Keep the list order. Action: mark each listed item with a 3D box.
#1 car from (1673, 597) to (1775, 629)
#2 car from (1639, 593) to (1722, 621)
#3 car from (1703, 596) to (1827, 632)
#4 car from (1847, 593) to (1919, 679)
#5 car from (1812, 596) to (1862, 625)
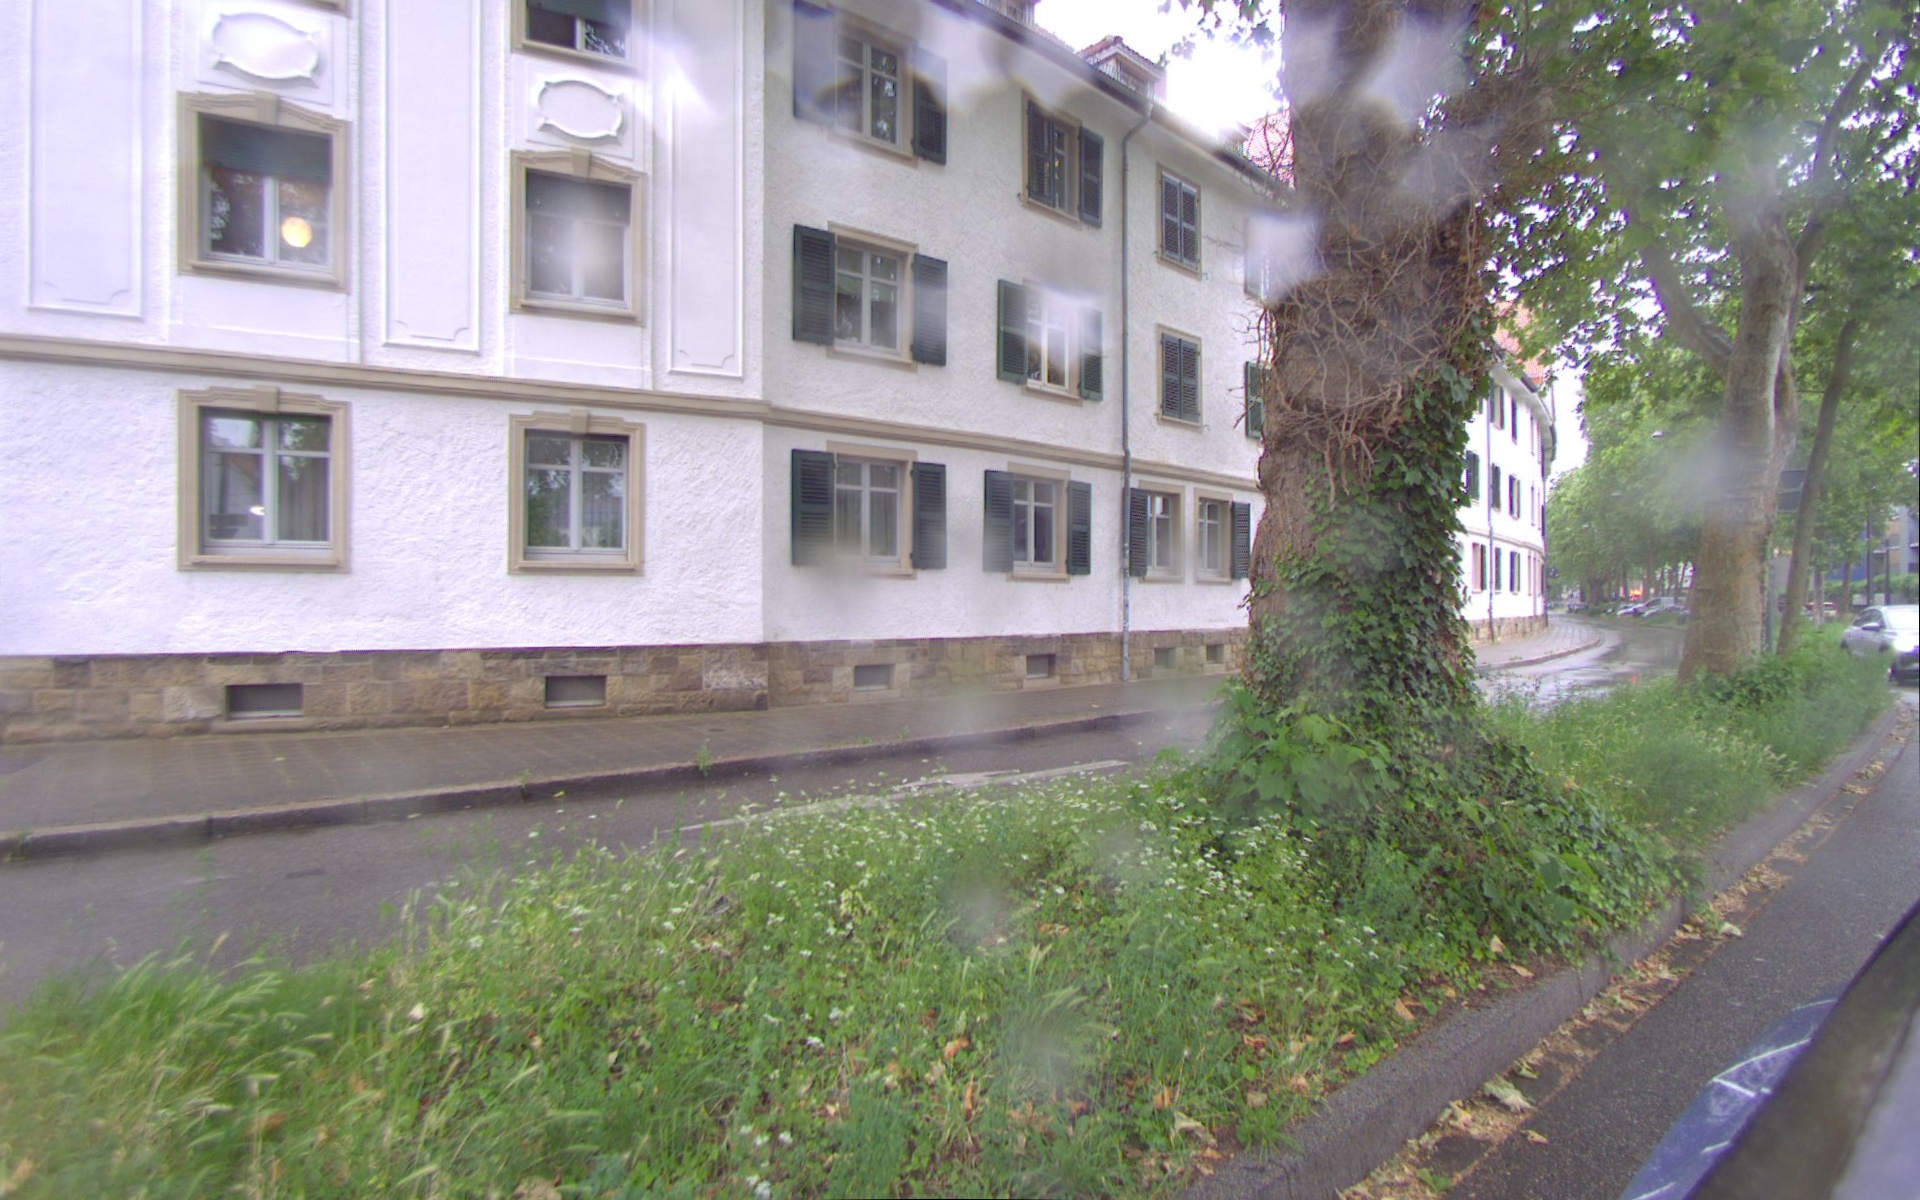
[{"bbox_3d":[43.575,0.739,57.793,1.715,1.632,4.335,1,1,-35],"label":"car"},{"bbox_3d":[56.610,0.504,79.595,1.960,2.039,4.899,1,1,-30],"label":"car"},{"bbox_3d":[38.448,0.629,48.419,1.892,1.560,4.236,0,1,-30],"label":"car"},{"bbox_3d":[19.902,0.680,20.621,1.835,1.616,4.174,0,0,28],"label":"car"},{"bbox_3d":[57.757,0.663,66.731,1.677,1.745,3.656,2,1,28],"label":"car"}]
